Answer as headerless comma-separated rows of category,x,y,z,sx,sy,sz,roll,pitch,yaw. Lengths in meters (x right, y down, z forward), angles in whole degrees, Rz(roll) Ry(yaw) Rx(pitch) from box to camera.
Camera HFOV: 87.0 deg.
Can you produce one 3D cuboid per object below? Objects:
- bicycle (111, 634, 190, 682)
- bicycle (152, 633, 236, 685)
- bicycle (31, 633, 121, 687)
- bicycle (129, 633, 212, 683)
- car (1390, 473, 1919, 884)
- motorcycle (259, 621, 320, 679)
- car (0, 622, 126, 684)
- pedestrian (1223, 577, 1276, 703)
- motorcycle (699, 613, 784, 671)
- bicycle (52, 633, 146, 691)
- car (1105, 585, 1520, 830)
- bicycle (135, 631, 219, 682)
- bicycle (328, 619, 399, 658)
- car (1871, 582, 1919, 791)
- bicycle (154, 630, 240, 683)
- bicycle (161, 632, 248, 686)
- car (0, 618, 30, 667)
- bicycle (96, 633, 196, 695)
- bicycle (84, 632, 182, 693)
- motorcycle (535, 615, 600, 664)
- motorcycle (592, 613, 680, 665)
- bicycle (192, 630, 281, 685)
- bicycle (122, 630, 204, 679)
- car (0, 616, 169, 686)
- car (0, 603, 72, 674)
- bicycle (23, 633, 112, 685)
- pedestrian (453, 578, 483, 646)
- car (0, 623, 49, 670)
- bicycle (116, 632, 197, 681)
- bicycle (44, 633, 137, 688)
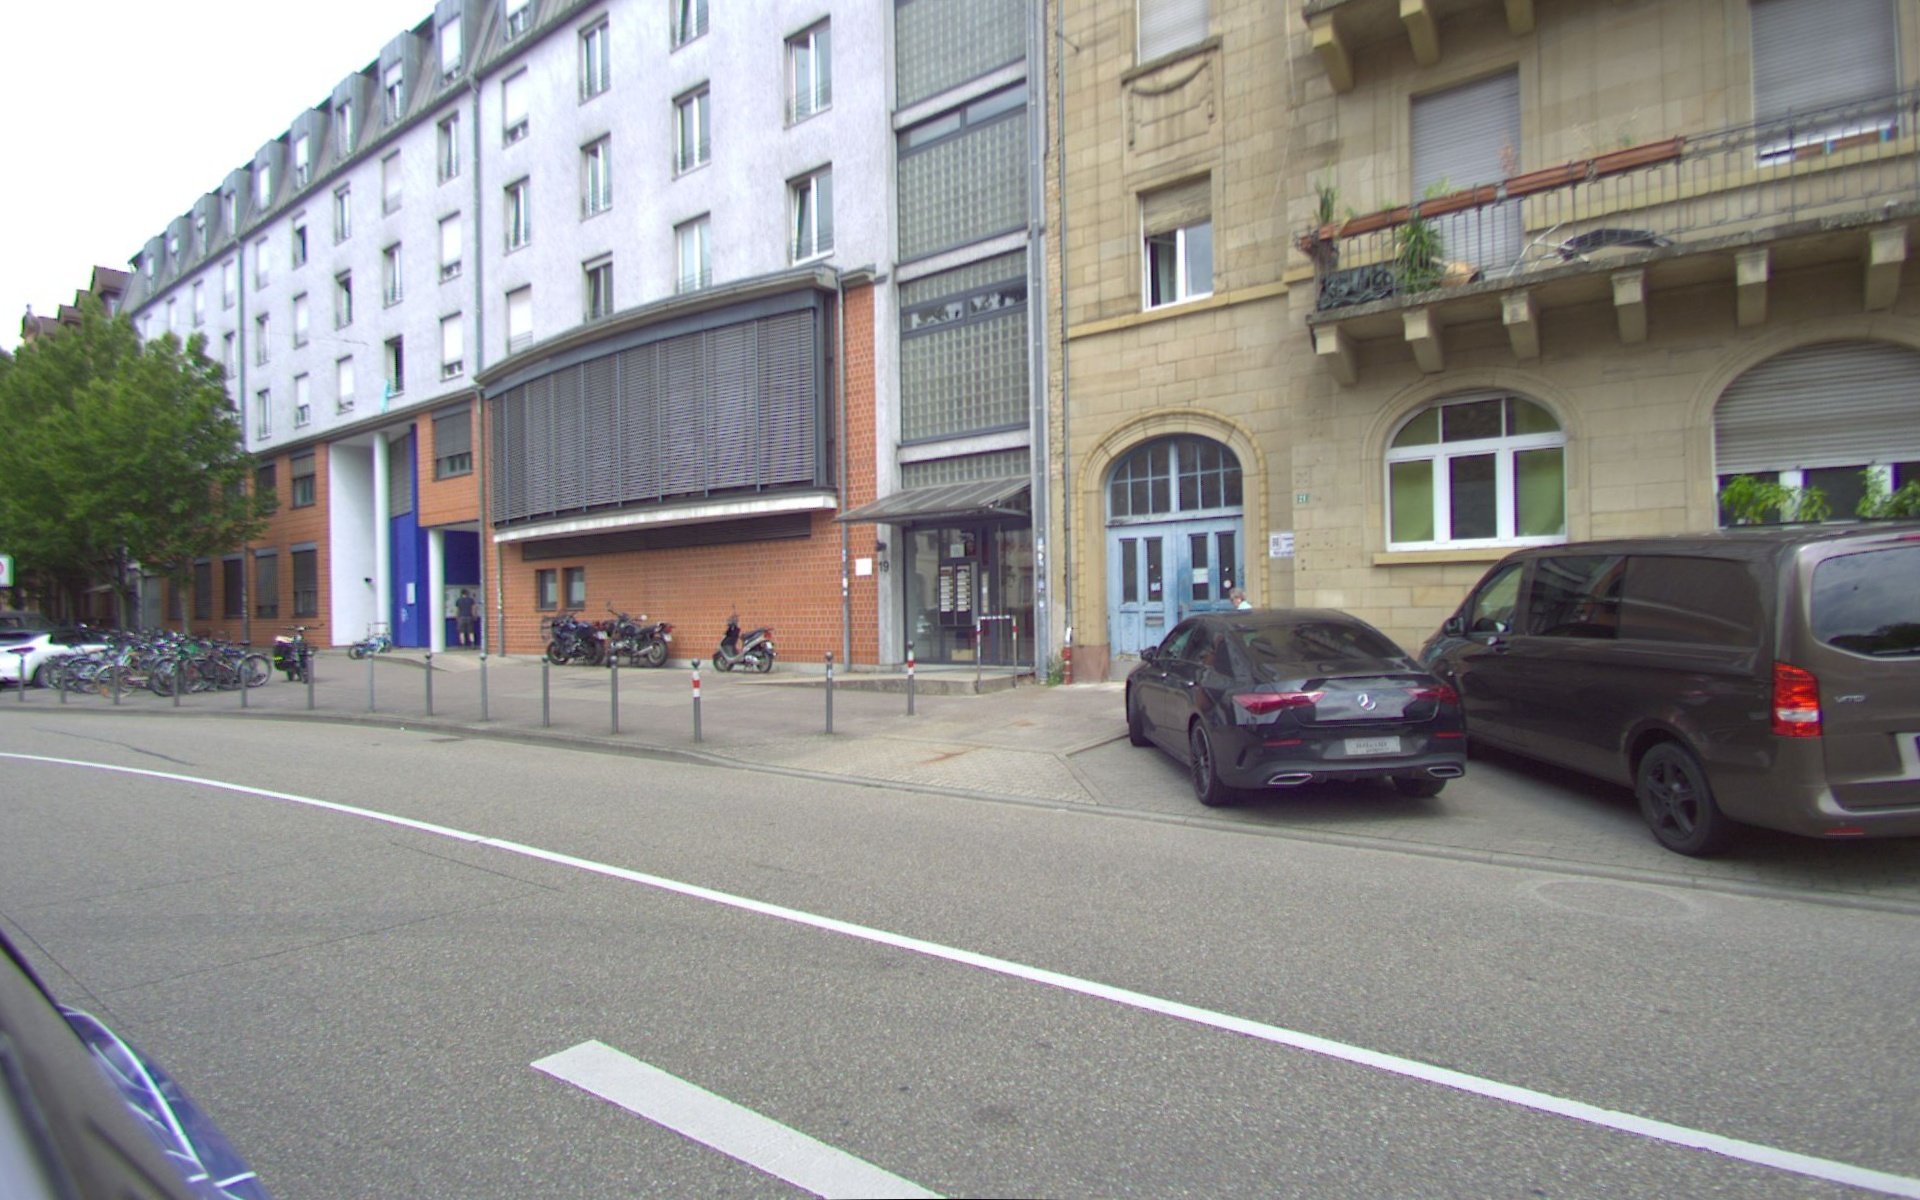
bicycle,-18.935,1.343,23.691,0.401,1.034,1.392,-2,0,40
bicycle,-16.509,1.251,21.831,0.401,1.034,1.392,-2,0,40
bicycle,-19.214,1.293,22.023,0.401,1.034,1.392,-2,2,40
bicycle,-17.585,1.280,22.564,0.401,1.034,1.392,-2,0,40
car,5.183,0.379,7.331,2.094,1.924,5.265,-1,-1,3
motorcycle,-14.374,1.053,21.669,1.778,1.181,0.578,-2,0,40
car,-24.161,1.343,26.024,1.695,1.480,4.311,-1,-1,4
pedestrian,3.551,0.478,12.402,0.506,1.497,0.657,-1,-1,24
motorcycle,-4.222,0.803,19.462,1.791,1.056,0.578,-2,0,39
bicycle,-17.715,1.257,20.837,0.401,1.046,1.392,-2,2,40
car,2.619,0.664,8.877,1.873,1.419,4.673,-3,2,-1
bicycle,-17.204,1.223,22.266,0.401,1.034,1.392,-2,0,40
bicycle,-17.696,1.124,30.044,1.591,0.933,0.933,-8,4,-40
car,7.510,0.555,5.242,1.770,1.420,4.015,-1,-1,-3
bicycle,-16.168,1.176,21.480,0.401,1.034,1.392,-2,0,40
bicycle,-15.760,1.212,21.132,0.401,1.034,1.392,-2,0,40
car,-33.074,1.460,32.983,1.691,1.627,4.000,-2,-1,4
bicycle,-15.375,1.193,19.143,0.401,1.046,1.392,-2,2,40
bicycle,-16.072,1.200,19.696,0.401,1.046,1.392,-2,2,40
motorcycle,-9.026,0.904,23.240,1.654,1.056,0.578,-2,0,37
motorcycle,-7.016,0.846,21.895,1.957,1.056,0.580,-2,0,27
bicycle,-14.660,1.150,20.528,0.401,1.034,1.392,-2,0,40
bicycle,-18.111,1.216,23.019,0.401,1.034,1.392,-2,0,40
car,-21.885,1.188,24.914,1.581,1.557,4.001,-1,-1,3
car,-28.722,1.157,29.533,1.839,2.013,3.998,-1,1,7
bicycle,-19.847,1.296,22.525,0.401,1.034,1.392,-2,2,40
pedestrian,-14.889,0.370,30.626,0.718,2.029,0.784,0,-1,-33
car,-30.928,1.480,31.374,1.604,1.457,4.000,-2,-1,4
bicycle,-18.562,1.291,23.399,0.401,1.034,1.392,-2,0,40
bicycle,-18.222,1.253,21.229,0.401,1.034,1.392,-2,2,40
